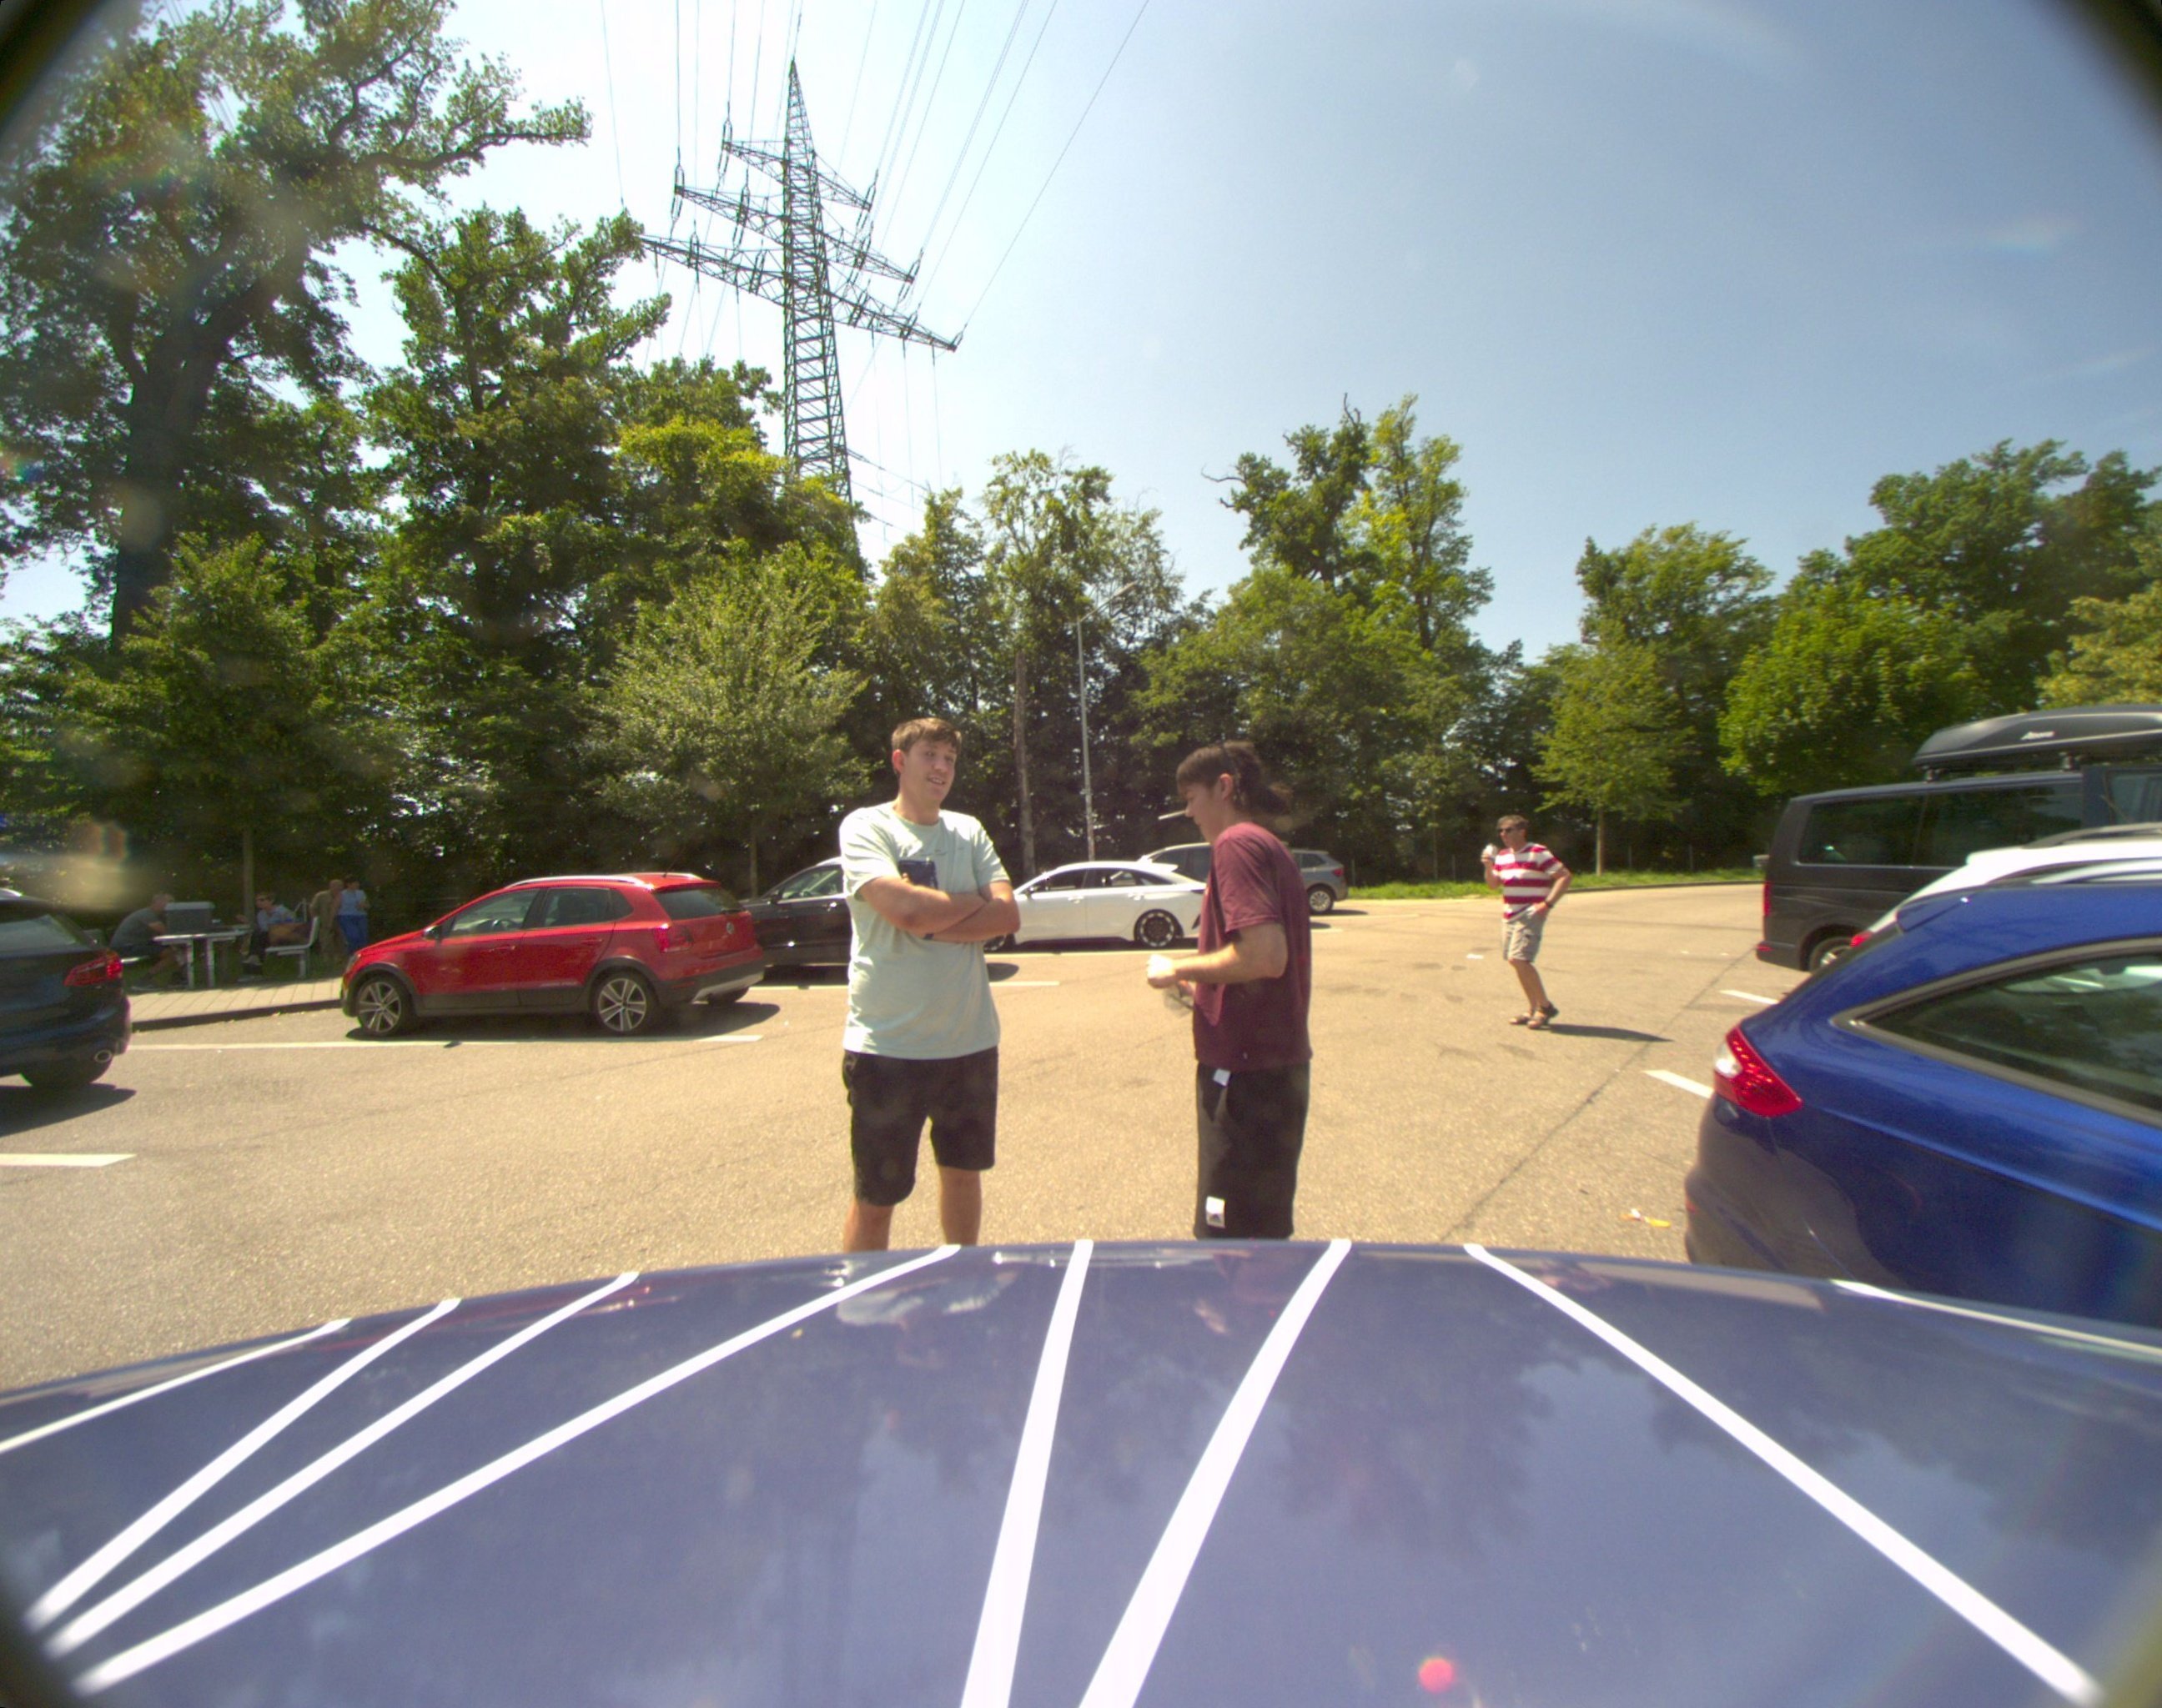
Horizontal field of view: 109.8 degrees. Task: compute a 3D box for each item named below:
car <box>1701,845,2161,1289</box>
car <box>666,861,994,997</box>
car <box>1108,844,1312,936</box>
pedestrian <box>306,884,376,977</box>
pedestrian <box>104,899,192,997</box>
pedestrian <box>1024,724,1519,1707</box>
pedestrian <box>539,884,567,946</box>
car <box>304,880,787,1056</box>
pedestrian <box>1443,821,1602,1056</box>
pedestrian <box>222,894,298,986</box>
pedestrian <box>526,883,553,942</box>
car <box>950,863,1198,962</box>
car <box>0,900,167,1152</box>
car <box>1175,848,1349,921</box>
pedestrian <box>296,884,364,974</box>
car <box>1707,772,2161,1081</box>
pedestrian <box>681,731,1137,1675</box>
[{"bbox_3d":[4.647,0.727,2.259,1.757,1.496,4.574,-3,-1,-1],"label":"car"},{"bbox_3d":[-3.248,0.959,10.306,3.825,1.546,1.651,-2,1,4],"label":"car"},{"bbox_3d":[2.609,0.709,15.463,3.822,1.686,1.652,-2,1,12],"label":"car"},{"bbox_3d":[-13.376,1.369,13.740,0.571,1.596,0.648,-2,1,17],"label":"pedestrian"},{"bbox_3d":[-12.726,1.266,10.380,0.595,1.238,0.446,-3,1,-33],"label":"pedestrian"},{"bbox_3d":[0.469,0.713,1.936,0.919,1.894,0.815,-2,1,16],"label":"pedestrian"},{"bbox_3d":[-10.162,1.160,14.631,0.357,1.158,0.384,-3,2,-41],"label":"pedestrian"},{"bbox_3d":[-5.229,1.087,7.678,3.823,1.460,1.651,-2,1,8],"label":"car"},{"bbox_3d":[3.567,0.631,6.183,0.786,1.744,0.754,-3,1,-20],"label":"pedestrian"},{"bbox_3d":[-11.859,1.226,10.994,0.595,1.238,0.499,-3,1,-33],"label":"pedestrian"},{"bbox_3d":[-11.006,1.183,15.447,0.357,1.158,0.384,-3,2,-41],"label":"pedestrian"},{"bbox_3d":[-0.072,0.930,12.681,3.825,1.394,1.651,-2,1,4],"label":"car"},{"bbox_3d":[-9.030,1.169,5.012,4.338,1.544,1.749,-1,1,8],"label":"car"},{"bbox_3d":[4.269,0.705,18.158,3.822,1.551,1.652,-2,1,12],"label":"car"},{"bbox_3d":[-14.036,1.389,14.214,0.571,1.596,0.648,-2,1,17],"label":"pedestrian"},{"bbox_3d":[7.376,0.413,5.290,1.758,1.886,4.571,-3,-1,-9],"label":"car"},{"bbox_3d":[-0.493,0.716,2.155,0.815,1.939,0.918,-3,2,-45],"label":"pedestrian"}]
